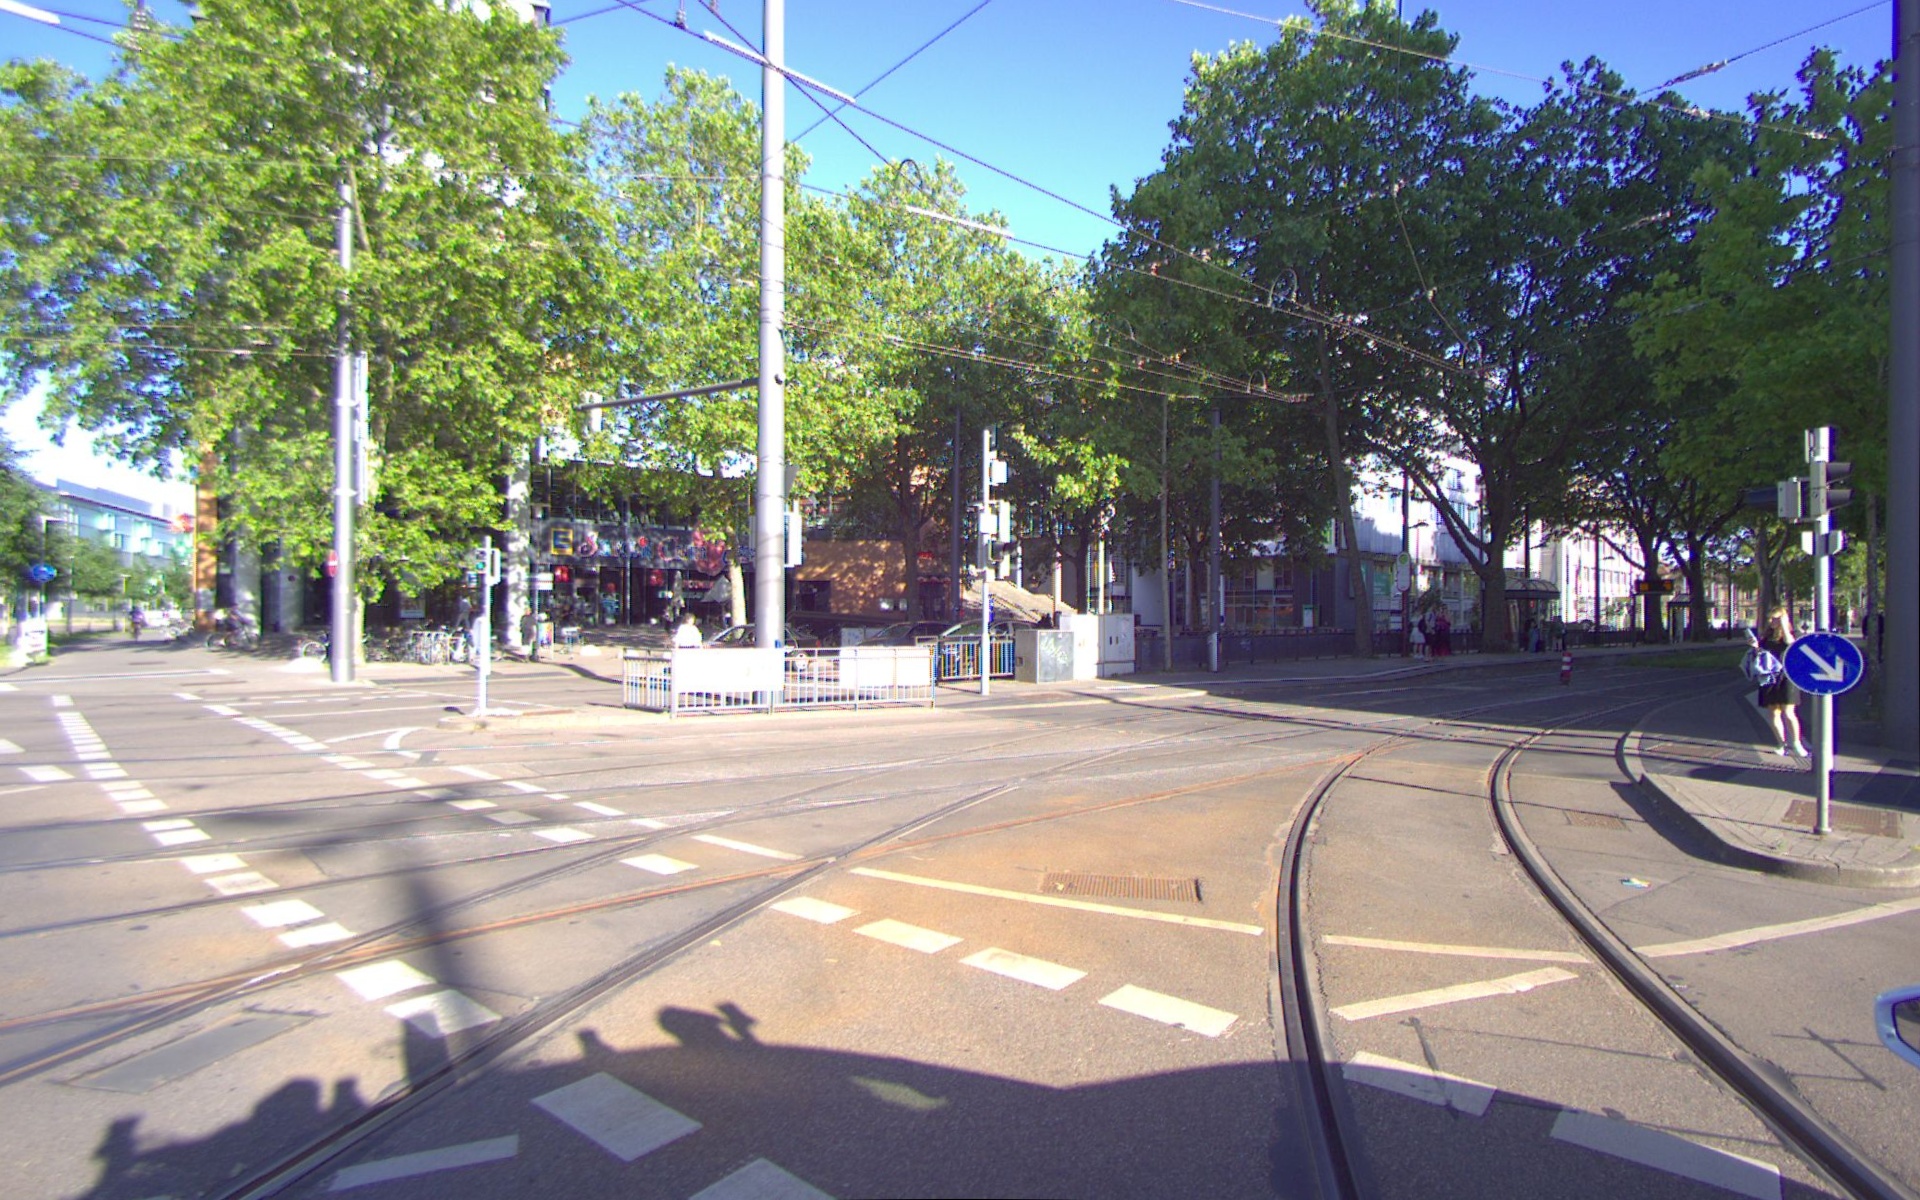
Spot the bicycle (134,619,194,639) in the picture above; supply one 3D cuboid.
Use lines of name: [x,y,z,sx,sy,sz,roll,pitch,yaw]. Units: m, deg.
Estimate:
bicycle: [-46.468,1.687,58.678,2.660,1.118,0.889,1,-1,-30]

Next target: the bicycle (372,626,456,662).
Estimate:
bicycle: [-17.930,1.440,33.005,2.349,1.143,0.591,1,-1,-42]

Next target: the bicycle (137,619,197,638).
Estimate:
bicycle: [-46.985,1.708,59.578,2.660,1.118,0.889,1,-1,-30]

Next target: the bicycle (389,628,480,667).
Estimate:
bicycle: [-15.811,1.406,30.255,2.349,1.143,0.591,1,-1,-42]

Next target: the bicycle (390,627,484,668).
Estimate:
bicycle: [-15.157,1.362,29.157,2.349,1.143,0.591,1,-1,-42]

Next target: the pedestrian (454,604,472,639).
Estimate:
pedestrian: [-24.405,1.067,49.296,0.698,1.674,0.692,1,0,-32]

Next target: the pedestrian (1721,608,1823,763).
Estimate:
pedestrian: [9.387,0.960,11.619,0.823,1.702,0.709,1,-2,-35]

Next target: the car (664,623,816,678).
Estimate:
car: [-6.260,1.433,28.831,3.970,1.425,1.651,2,-1,-42]

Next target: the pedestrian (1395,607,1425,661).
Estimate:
pedestrian: [15.388,1.161,34.334,0.735,1.824,0.588,1,0,-28]

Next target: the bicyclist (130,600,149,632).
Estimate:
bicyclist: [-39.245,0.770,48.043,0.688,1.480,0.745,1,0,-41]

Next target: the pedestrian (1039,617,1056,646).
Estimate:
pedestrian: [5.121,1.830,58.891,0.701,1.674,0.690,1,1,-43]

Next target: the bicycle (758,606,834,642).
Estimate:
bicycle: [-6.792,0.985,41.461,3.305,1.371,1.032,1,0,34]

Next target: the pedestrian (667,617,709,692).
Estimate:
pedestrian: [-6.347,1.254,23.407,0.709,1.702,0.824,1,-2,-34]

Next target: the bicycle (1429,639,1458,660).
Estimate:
bicycle: [17.945,1.826,37.244,1.684,0.698,0.389,1,0,-44]

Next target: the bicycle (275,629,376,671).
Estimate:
bicycle: [-18.068,1.403,28.648,2.348,1.143,0.592,1,-1,-41]

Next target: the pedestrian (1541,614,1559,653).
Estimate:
pedestrian: [24.787,1.384,42.179,0.490,1.594,0.497,-1,2,-39]

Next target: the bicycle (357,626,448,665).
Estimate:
bicycle: [-17.005,1.385,30.678,2.349,1.143,0.591,1,-1,-42]

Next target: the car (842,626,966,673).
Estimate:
car: [-1.833,1.619,33.494,3.970,1.425,1.651,2,-1,-42]

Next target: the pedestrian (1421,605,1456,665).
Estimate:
pedestrian: [14.917,1.079,31.321,0.732,1.853,0.591,1,0,-12]

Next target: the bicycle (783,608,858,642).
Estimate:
bicycle: [-5.952,1.040,42.722,3.305,1.371,1.032,1,0,34]

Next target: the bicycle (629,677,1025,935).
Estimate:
bicycle: [-0.668,1.072,5.853,2.348,1.143,0.592,1,-1,-41]

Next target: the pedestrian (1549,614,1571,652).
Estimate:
pedestrian: [25.329,1.387,42.419,0.632,1.594,0.560,-1,2,-31]

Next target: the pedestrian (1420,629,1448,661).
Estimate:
pedestrian: [17.652,1.672,37.395,0.735,1.179,0.588,1,0,-28]

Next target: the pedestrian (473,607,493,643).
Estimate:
pedestrian: [-22.608,1.178,47.601,0.692,1.674,0.698,1,1,-37]

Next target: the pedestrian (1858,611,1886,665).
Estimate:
pedestrian: [29.098,1.219,32.057,0.483,1.702,0.598,1,-2,-43]

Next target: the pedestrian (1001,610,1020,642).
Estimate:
pedestrian: [2.665,1.363,52.672,0.701,1.674,0.690,1,1,-43]

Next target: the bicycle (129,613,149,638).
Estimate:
bicycle: [-39.254,1.199,48.036,0.688,1.152,1.829,1,0,-41]

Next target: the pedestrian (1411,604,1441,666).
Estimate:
pedestrian: [14.257,1.061,30.730,0.627,1.853,0.741,1,1,42]

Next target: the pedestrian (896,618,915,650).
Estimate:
pedestrian: [-2.861,1.788,52.805,0.701,1.674,0.690,1,1,-43]

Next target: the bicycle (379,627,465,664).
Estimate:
bicycle: [-17.238,1.447,32.234,2.349,1.143,0.591,1,-1,-42]

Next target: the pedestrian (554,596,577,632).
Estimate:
pedestrian: [-18.302,0.641,46.589,0.691,1.674,0.699,1,0,15]

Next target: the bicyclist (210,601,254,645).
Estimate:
bicyclist: [-26.078,0.827,36.008,0.921,1.569,0.895,1,-1,-3]

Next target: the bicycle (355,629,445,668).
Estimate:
bicycle: [-17.386,1.484,31.222,2.349,1.143,0.591,1,-1,-42]

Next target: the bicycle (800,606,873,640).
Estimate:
bicycle: [-5.440,0.990,44.236,3.305,1.371,1.032,1,0,34]

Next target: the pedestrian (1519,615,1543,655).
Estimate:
pedestrian: [23.077,1.415,40.613,0.659,1.594,0.485,0,1,0]

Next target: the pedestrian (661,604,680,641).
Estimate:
pedestrian: [-14.155,1.103,49.115,0.698,1.791,0.693,1,0,-31]

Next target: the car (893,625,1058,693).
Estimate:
car: [0.435,1.376,24.198,3.973,1.433,1.650,2,-1,-44]

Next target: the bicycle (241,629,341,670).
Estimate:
bicycle: [-19.446,1.417,29.240,2.348,1.143,0.592,1,-1,-41]

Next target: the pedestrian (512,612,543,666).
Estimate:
pedestrian: [-14.012,1.262,32.519,0.710,1.702,0.822,1,-2,-40]

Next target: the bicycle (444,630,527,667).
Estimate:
bicycle: [-15.341,1.543,32.534,2.349,1.143,0.591,1,-1,-42]

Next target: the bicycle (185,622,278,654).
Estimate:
bicycle: [-26.089,1.347,35.996,2.639,1.118,0.896,1,-1,-2]
